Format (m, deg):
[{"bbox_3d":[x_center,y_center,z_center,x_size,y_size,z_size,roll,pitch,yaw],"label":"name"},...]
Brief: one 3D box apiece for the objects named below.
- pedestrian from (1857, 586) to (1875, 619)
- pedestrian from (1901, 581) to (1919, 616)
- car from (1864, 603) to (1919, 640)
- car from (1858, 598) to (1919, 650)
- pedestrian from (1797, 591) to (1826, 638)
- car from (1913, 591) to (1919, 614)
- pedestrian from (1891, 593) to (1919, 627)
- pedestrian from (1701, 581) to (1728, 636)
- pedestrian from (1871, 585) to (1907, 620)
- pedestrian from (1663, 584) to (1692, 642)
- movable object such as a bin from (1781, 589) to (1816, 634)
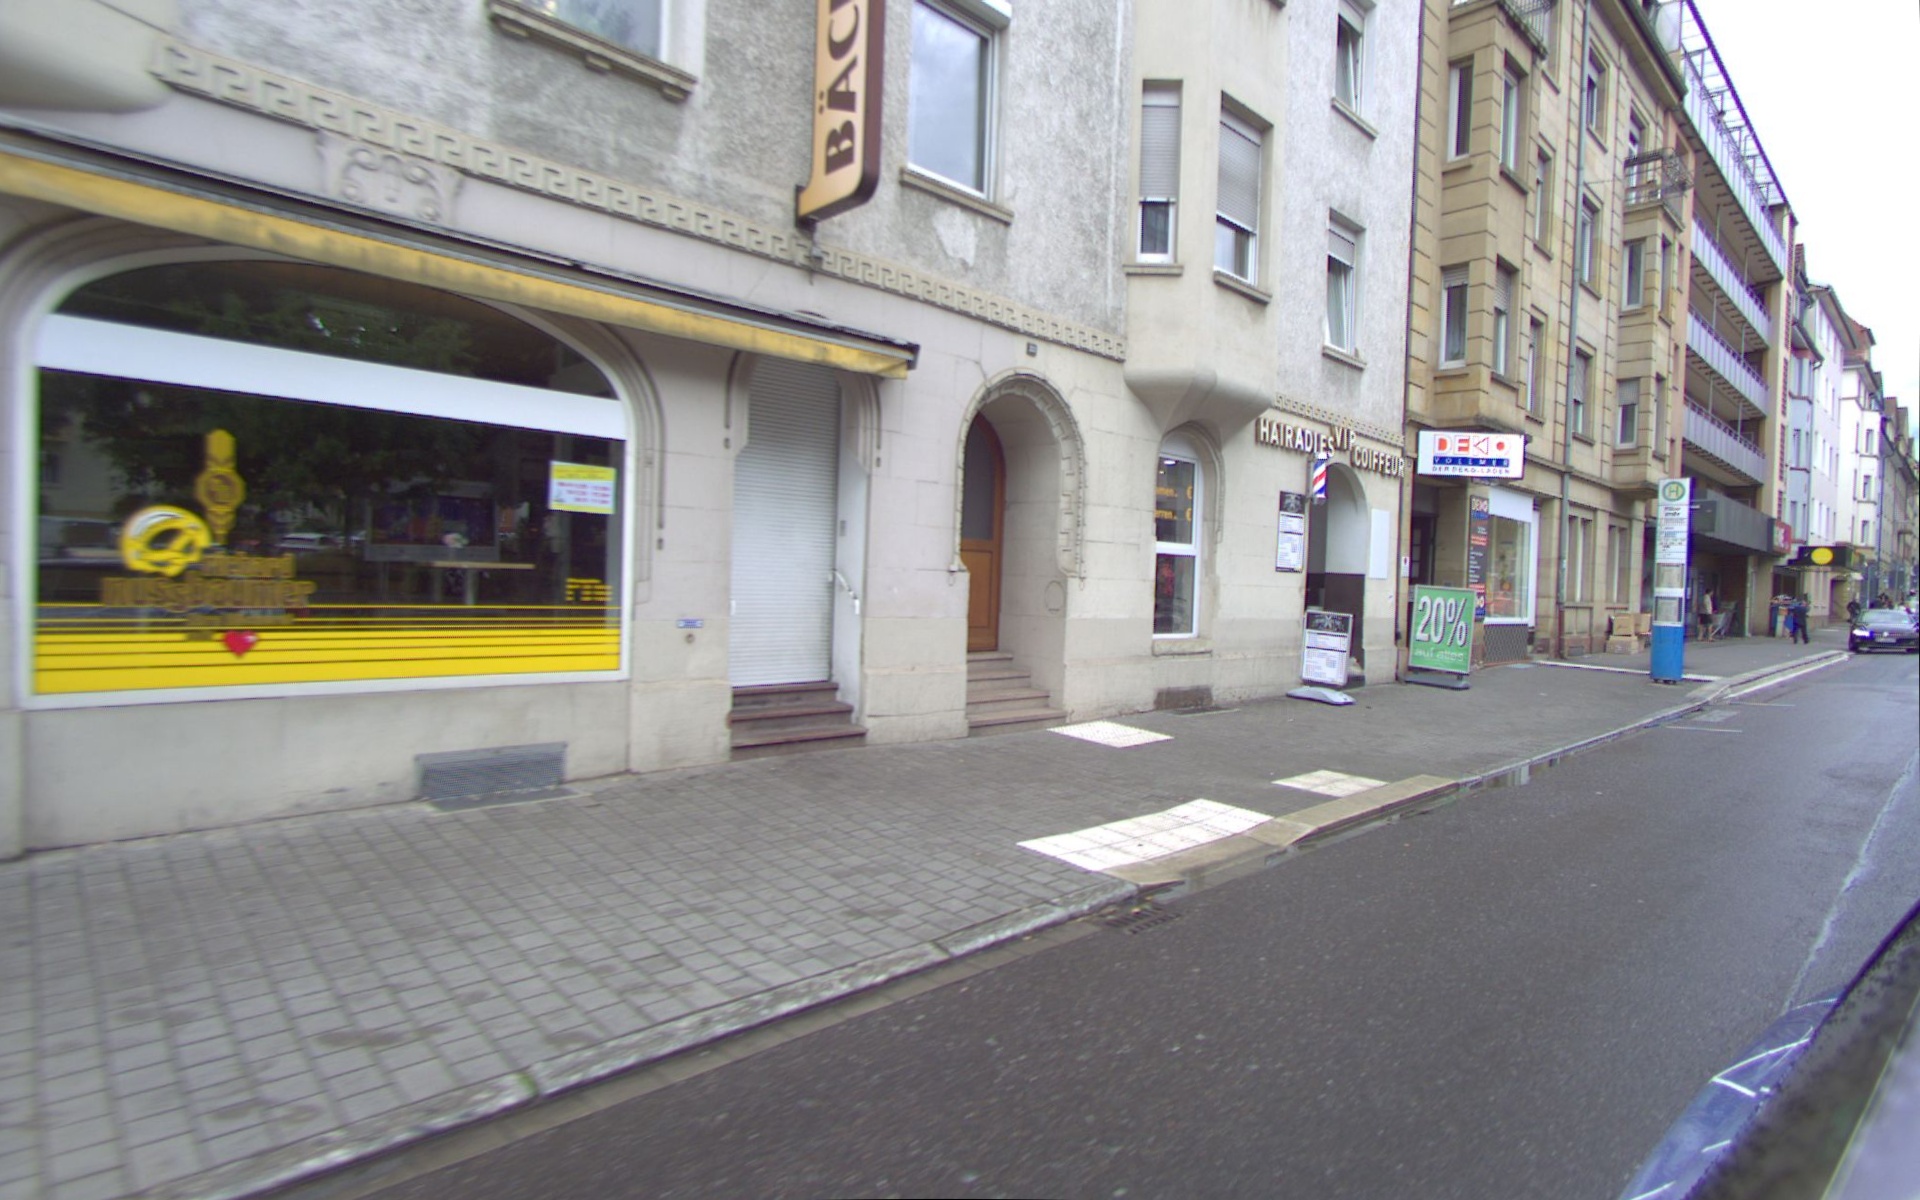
[{"bbox_3d":[49.872,0.154,55.689,0.686,1.770,0.610,0,3,-44],"label":"pedestrian"},{"bbox_3d":[47.430,-0.060,50.205,0.767,1.667,0.705,2,2,-10],"label":"pedestrian"},{"bbox_3d":[36.070,0.786,38.807,3.703,1.327,1.736,-1,0,-42],"label":"car"},{"bbox_3d":[31.512,0.754,33.951,3.915,1.566,1.732,-1,2,-44],"label":"car"},{"bbox_3d":[31.301,0.519,37.204,0.736,1.671,0.626,1,4,-44],"label":"pedestrian"},{"bbox_3d":[66.581,0.184,69.288,1.851,1.482,4.138,1,2,44],"label":"car"},{"bbox_3d":[47.277,0.492,50.544,0.767,1.667,0.705,2,2,-10],"label":"pedestrian"},{"bbox_3d":[26.052,0.281,34.956,0.714,1.882,0.597,-1,1,-41],"label":"pedestrian"},{"bbox_3d":[49.949,0.137,54.409,0.837,1.770,1.065,2,2,-3],"label":"pedestrian"},{"bbox_3d":[19.881,0.348,28.044,0.558,1.592,0.621,1,1,30],"label":"pedestrian"},{"bbox_3d":[34.878,0.458,42.089,0.999,1.815,1.276,2,2,44],"label":"movable object such as a bin"}]
